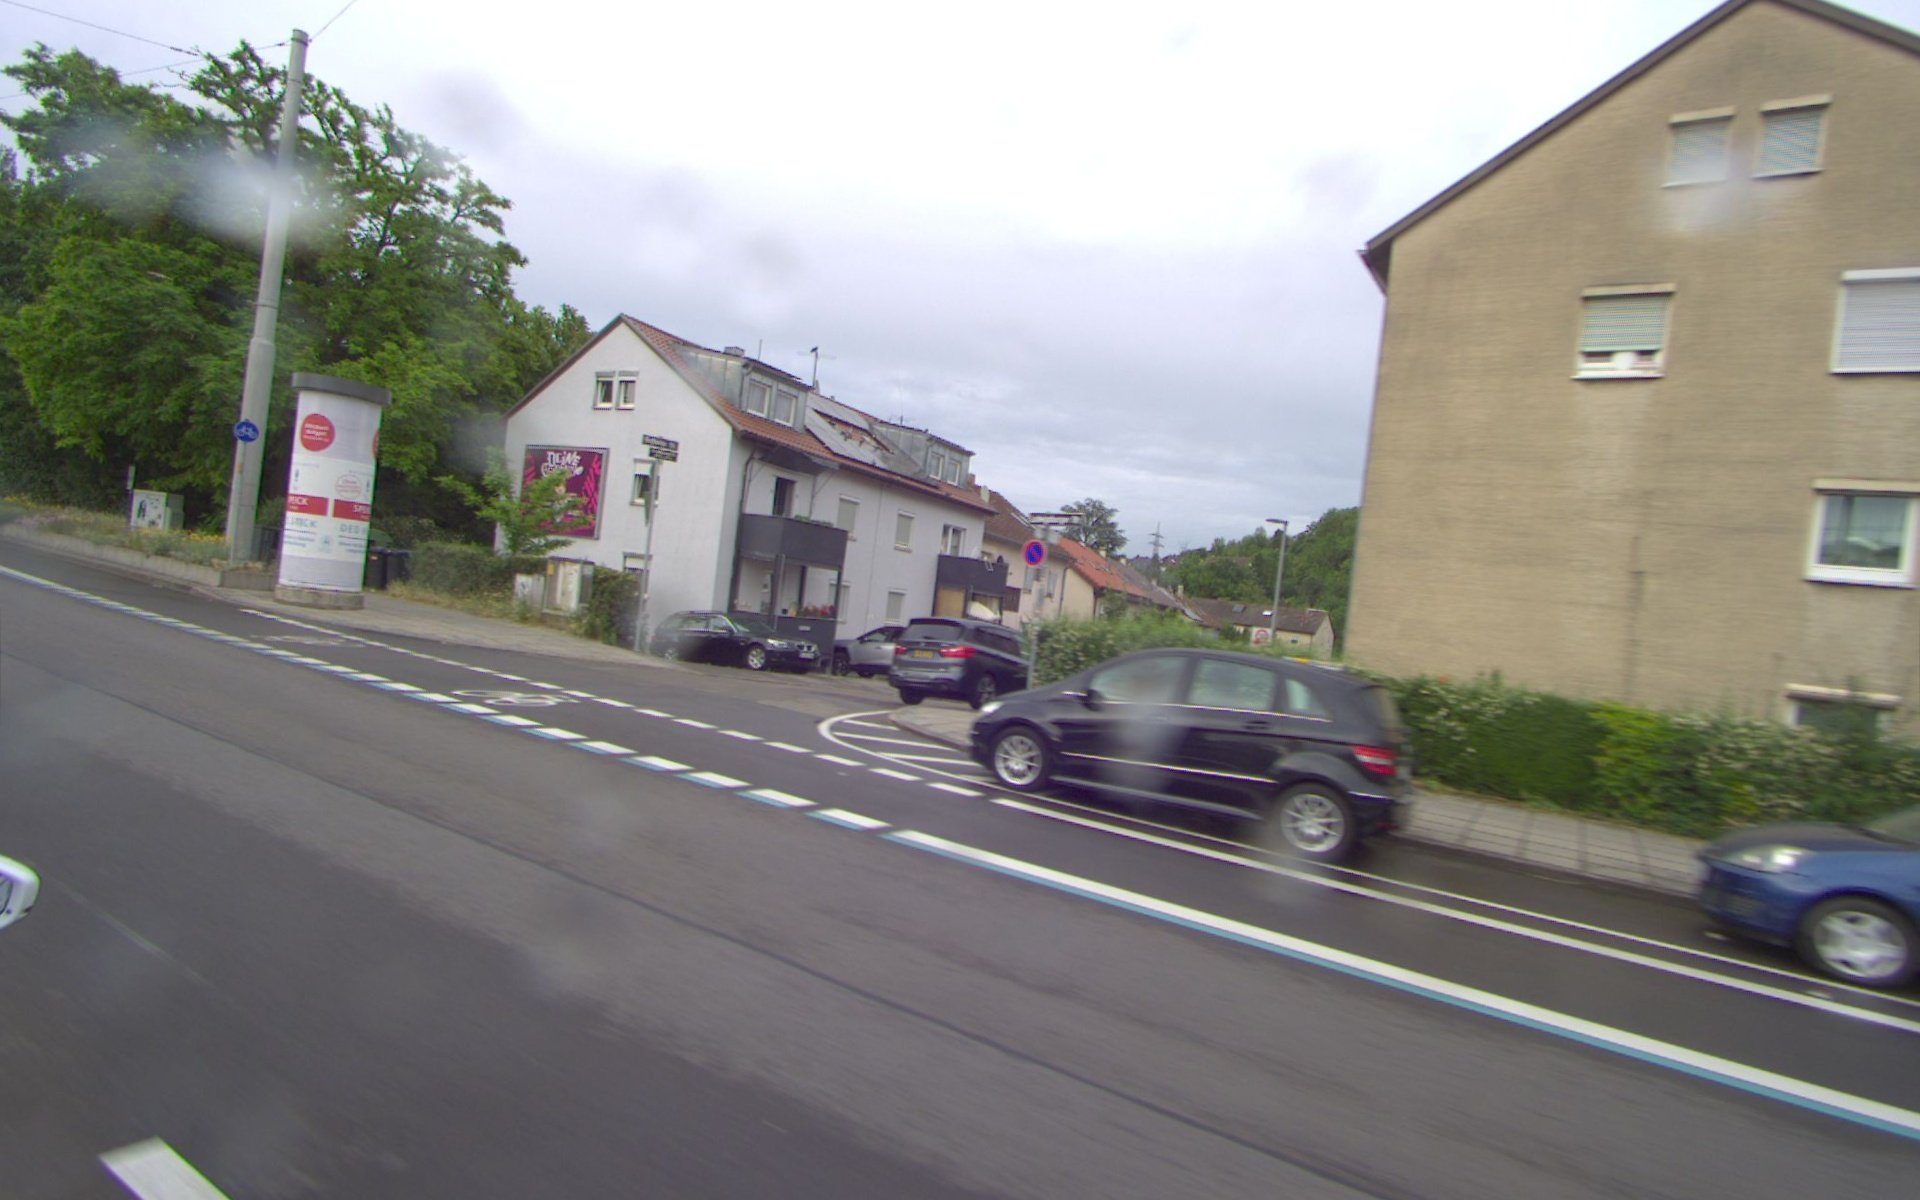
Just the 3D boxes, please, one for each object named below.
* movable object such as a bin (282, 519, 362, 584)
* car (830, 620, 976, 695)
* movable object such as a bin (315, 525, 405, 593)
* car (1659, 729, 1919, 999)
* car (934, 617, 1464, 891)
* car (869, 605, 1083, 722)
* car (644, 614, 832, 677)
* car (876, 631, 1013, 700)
[{"bbox_3d":[-16.276,-1.232,25.683,1.115,1.434,1.187,6,-2,29],"label":"movable object such as a bin"},{"bbox_3d":[-1.744,1.743,30.544,3.931,1.622,1.757,9,0,29],"label":"car"},{"bbox_3d":[-14.926,-1.010,25.047,1.278,1.434,1.314,6,-2,29],"label":"movable object such as a bin"},{"bbox_3d":[7.075,1.898,6.552,3.862,1.460,1.671,7,-2,30],"label":"car"},{"bbox_3d":[2.159,1.262,9.473,4.364,1.551,1.840,7,-1,31],"label":"car"},{"bbox_3d":[0.441,1.274,19.015,1.850,1.673,4.282,6,-4,35],"label":"car"},{"bbox_3d":[-5.617,1.131,25.294,4.653,1.406,1.755,0,-4,31],"label":"car"},{"bbox_3d":[-0.518,2.130,32.858,3.931,1.556,1.757,9,0,29],"label":"car"}]
